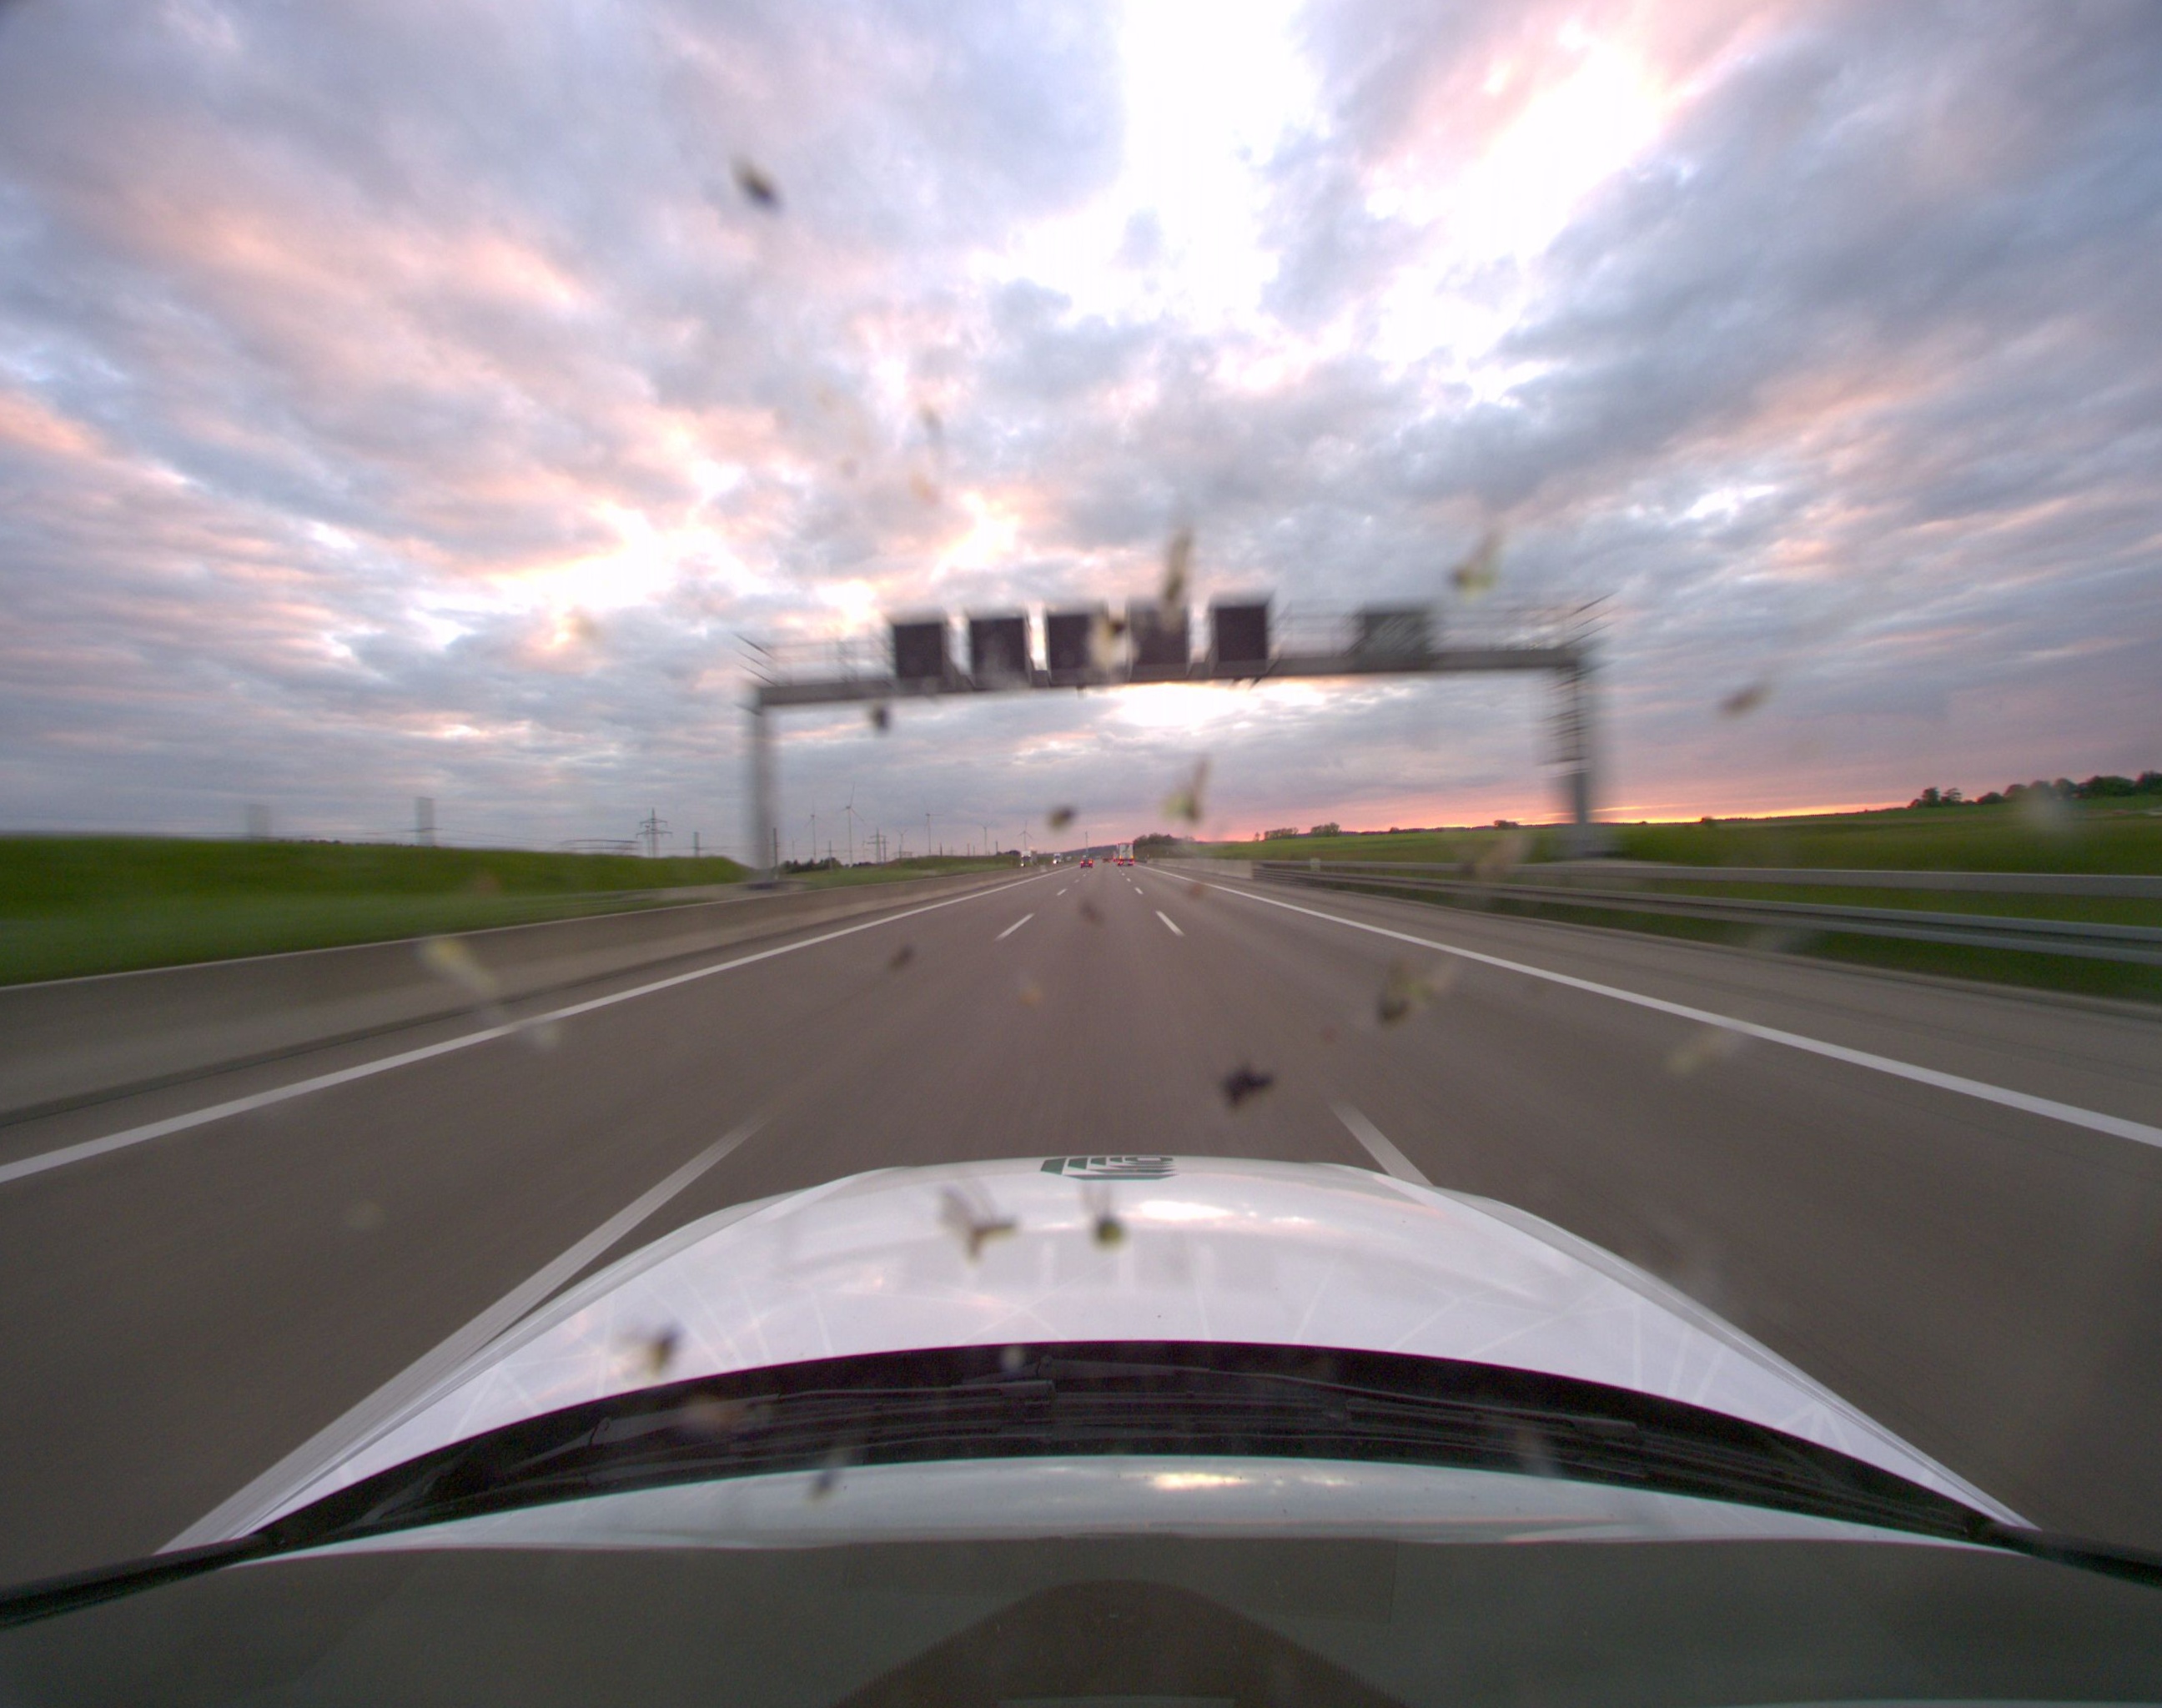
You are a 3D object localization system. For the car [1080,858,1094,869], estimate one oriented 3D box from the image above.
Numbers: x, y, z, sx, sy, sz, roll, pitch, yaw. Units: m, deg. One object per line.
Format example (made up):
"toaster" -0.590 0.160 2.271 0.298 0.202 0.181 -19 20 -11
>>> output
"car" 0.866 1.388 122.261 1.980 1.429 4.001 -3 0 1

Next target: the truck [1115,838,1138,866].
"truck" 8.121 -0.331 146.382 3.662 4.564 10.984 -3 0 1

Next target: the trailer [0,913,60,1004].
"trailer" -18.914 1.797 12.349 1.711 1.464 4.002 -3 0 2

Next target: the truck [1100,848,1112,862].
"truck" 7.844 0.380 257.998 3.634 4.414 8.638 -2 0 1

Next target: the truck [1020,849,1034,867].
"truck" -13.306 1.007 202.090 2.807 4.352 6.742 -1 0 2
